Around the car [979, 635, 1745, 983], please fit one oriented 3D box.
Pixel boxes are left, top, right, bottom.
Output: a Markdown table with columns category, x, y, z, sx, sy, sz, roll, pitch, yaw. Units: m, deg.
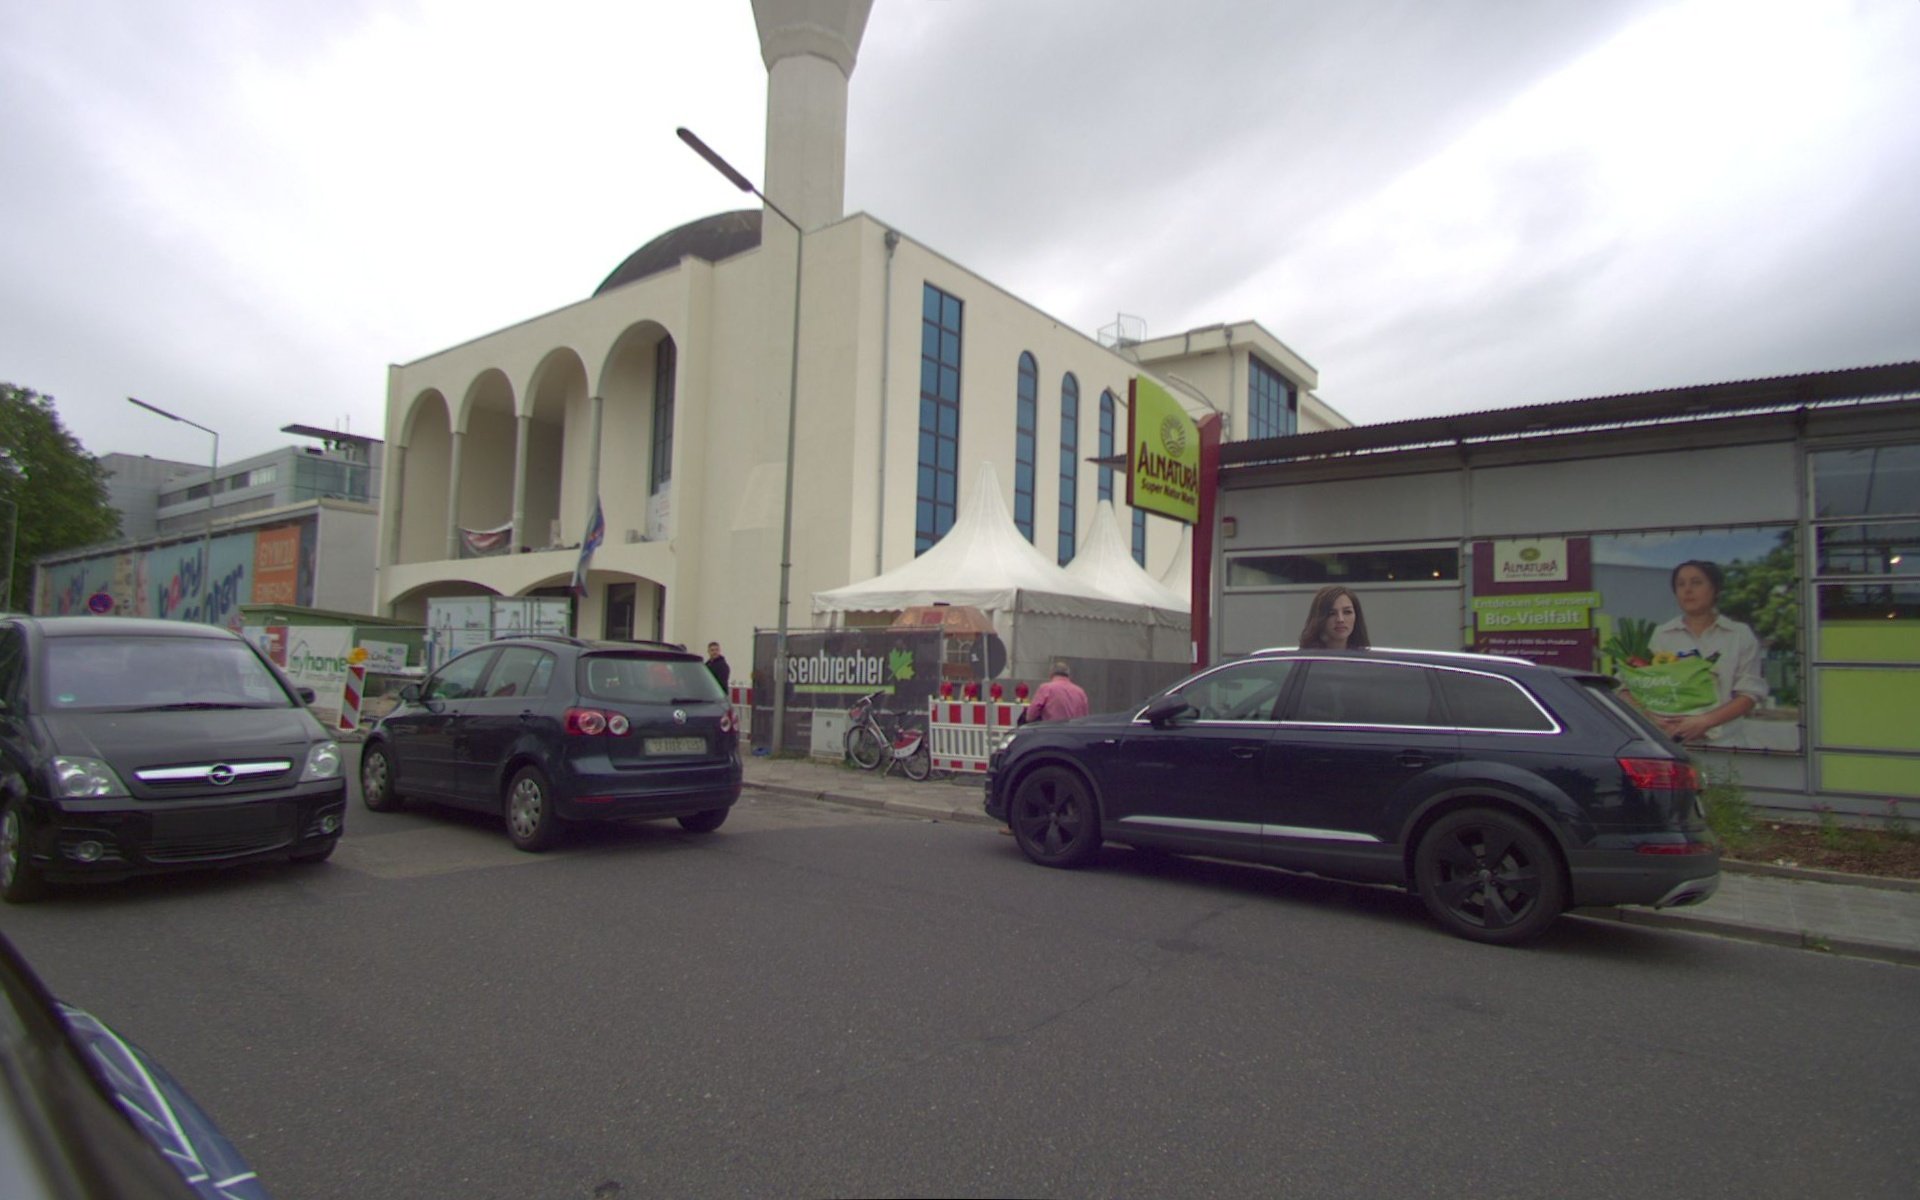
| category | x | y | z | sx | sy | sz | roll | pitch | yaw |
| --- | --- | --- | --- | --- | --- | --- | --- | --- | --- |
| car | 2.602 | 1.198 | 7.246 | 4.723 | 1.704 | 1.847 | -2 | -8 | 39 |

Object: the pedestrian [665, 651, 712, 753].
| category | x | y | z | sx | sy | sz | roll | pitch | yaw |
| --- | --- | --- | --- | --- | --- | --- | --- | --- | --- |
| pedestrian | -4.474 | 1.666 | 16.694 | 0.489 | 1.624 | 0.534 | -1 | -3 | 34 |

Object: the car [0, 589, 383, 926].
| category | x | y | z | sx | sy | sz | roll | pitch | yaw |
| --- | --- | --- | --- | --- | --- | --- | --- | --- | --- |
| car | -5.631 | 0.859 | 6.787 | 3.753 | 1.644 | 1.665 | -1 | -5 | 38 |

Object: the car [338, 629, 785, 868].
| category | x | y | z | sx | sy | sz | roll | pitch | yaw |
| --- | --- | --- | --- | --- | --- | --- | --- | --- | --- |
| car | -3.506 | 1.097 | 8.642 | 3.941 | 1.584 | 1.712 | -1 | -6 | 38 |

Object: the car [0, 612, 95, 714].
| category | x | y | z | sx | sy | sz | roll | pitch | yaw |
| --- | --- | --- | --- | --- | --- | --- | --- | --- | --- |
| car | -20.751 | 1.305 | 22.028 | 4.949 | 2.029 | 1.908 | -1 | -5 | 39 |

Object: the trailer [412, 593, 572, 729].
| category | x | y | z | sx | sy | sz | roll | pitch | yaw |
| --- | --- | --- | --- | --- | --- | --- | --- | --- | --- |
| trailer | -9.876 | 1.279 | 21.318 | 3.189 | 2.627 | 1.779 | -2 | -6 | 41 |

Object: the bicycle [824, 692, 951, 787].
| category | x | y | z | sx | sy | sz | roll | pitch | yaw |
| --- | --- | --- | --- | --- | --- | --- | --- | --- | --- |
| bicycle | -1.007 | 1.841 | 13.645 | 1.901 | 1.086 | 0.538 | -1 | -4 | 44 |

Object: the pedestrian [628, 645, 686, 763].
| category | x | y | z | sx | sy | sz | roll | pitch | yaw |
| --- | --- | --- | --- | --- | --- | --- | --- | --- | --- |
| pedestrian | -4.324 | 1.473 | 14.468 | 0.535 | 1.624 | 0.489 | 2 | -5 | 10 |

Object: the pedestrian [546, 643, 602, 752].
| category | x | y | z | sx | sy | sz | roll | pitch | yaw |
| --- | --- | --- | --- | --- | --- | --- | --- | --- | --- |
| pedestrian | -6.395 | 1.614 | 16.791 | 0.680 | 1.763 | 0.491 | 2 | -4 | -7 |

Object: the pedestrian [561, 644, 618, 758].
| category | x | y | z | sx | sy | sz | roll | pitch | yaw |
| --- | --- | --- | --- | --- | --- | --- | --- | --- | --- |
| pedestrian | -5.872 | 1.595 | 16.062 | 0.680 | 1.763 | 0.491 | 2 | -4 | -7 |

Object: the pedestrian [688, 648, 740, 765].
| category | x | y | z | sx | sy | sz | roll | pitch | yaw |
| --- | --- | --- | --- | --- | --- | --- | --- | --- | --- |
| pedestrian | -3.781 | 1.617 | 15.586 | 0.685 | 1.731 | 0.688 | -1 | -3 | -8 |

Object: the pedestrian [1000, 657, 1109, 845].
| category | x | y | z | sx | sy | sz | roll | pitch | yaw |
| --- | --- | --- | --- | --- | --- | --- | --- | --- | --- |
| pedestrian | 0.873 | 1.381 | 9.357 | 0.664 | 1.634 | 0.655 | 7 | -8 | -27 |

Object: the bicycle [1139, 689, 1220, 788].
| category | x | y | z | sx | sy | sz | roll | pitch | yaw |
| --- | --- | --- | --- | --- | --- | --- | --- | --- | --- |
| bicycle | 2.857 | 1.745 | 13.044 | 0.391 | 1.054 | 1.645 | -1 | -1 | 35 |
